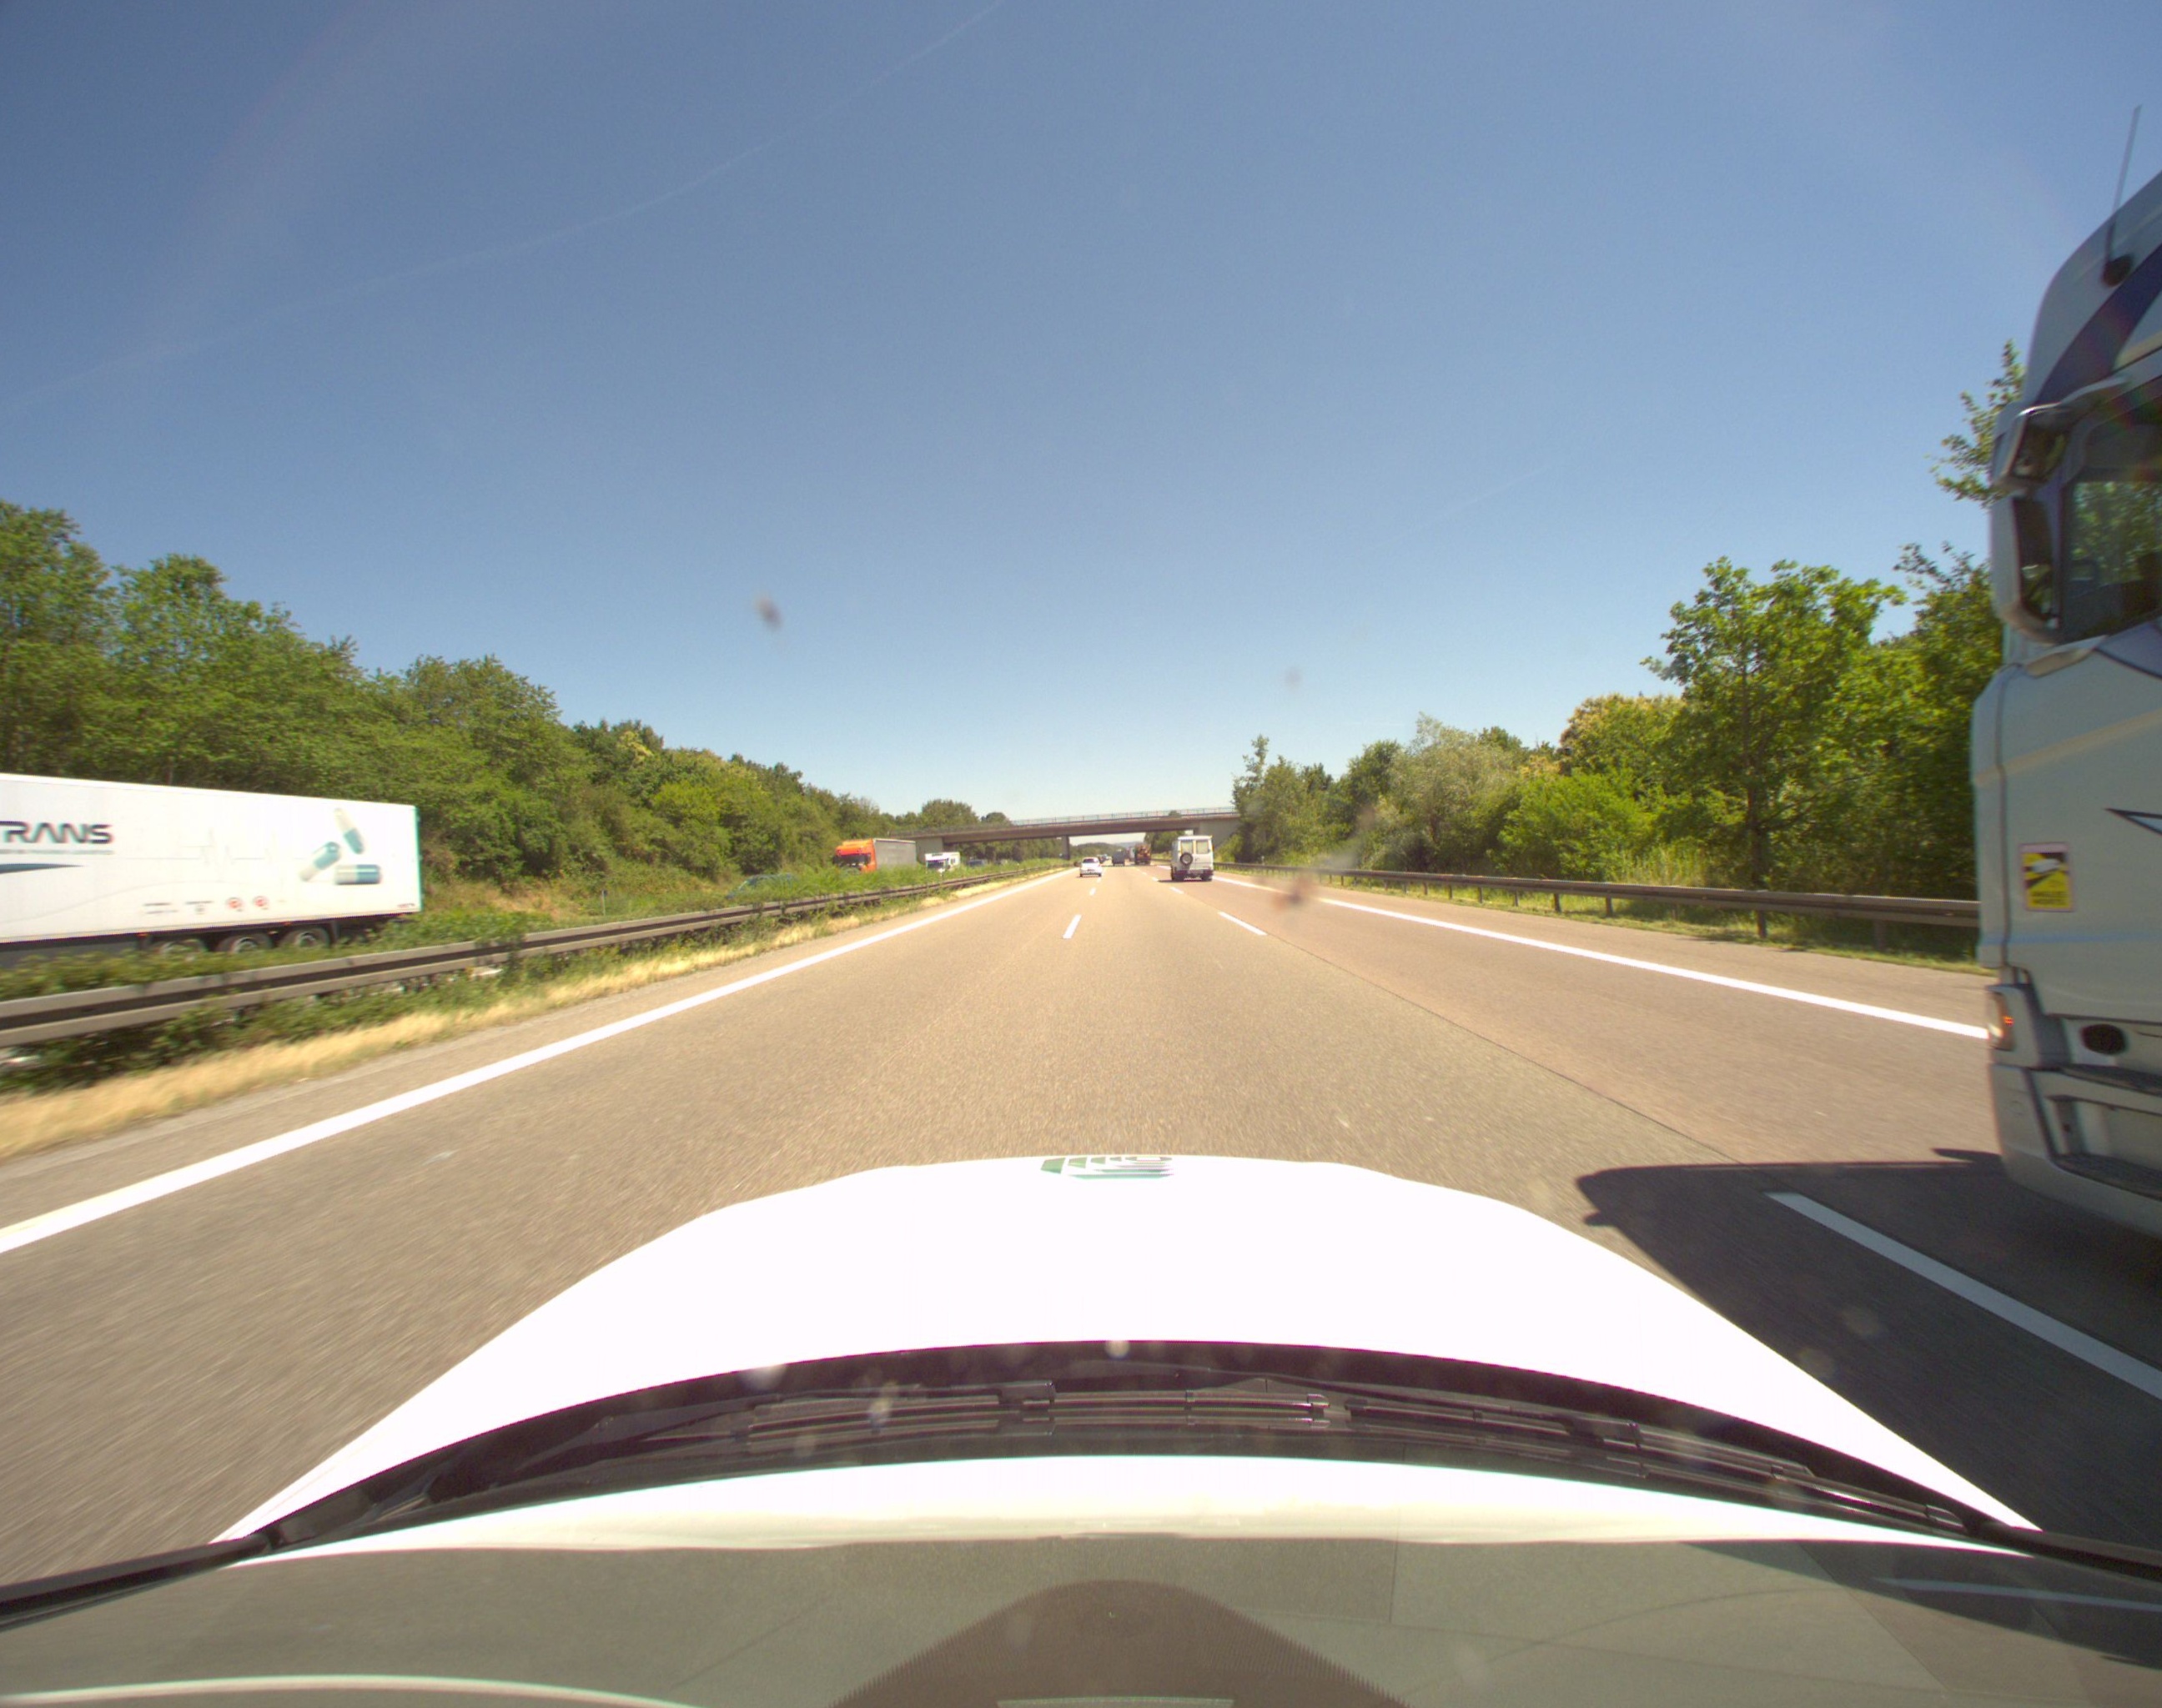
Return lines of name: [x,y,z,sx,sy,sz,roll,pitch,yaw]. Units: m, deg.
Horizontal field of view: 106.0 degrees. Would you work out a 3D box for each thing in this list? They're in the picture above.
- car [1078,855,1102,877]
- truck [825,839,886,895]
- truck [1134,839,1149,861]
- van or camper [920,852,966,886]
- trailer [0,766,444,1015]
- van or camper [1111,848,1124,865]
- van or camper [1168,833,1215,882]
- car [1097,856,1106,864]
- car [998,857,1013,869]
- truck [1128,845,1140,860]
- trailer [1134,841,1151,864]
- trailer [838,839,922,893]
car: [0.736,0.913,64.219,1.850,1.652,4.001,0,0,1]
truck: [-17.668,0.980,64.103,3.125,4.231,5.179,0,-1,2]
truck: [11.420,-0.696,153.847,2.659,3.994,6.641,-1,0,3]
van or camper: [-12.879,1.362,76.790,2.602,2.967,7.865,0,0,3]
trailer: [-19.673,0.651,16.338,3.163,4.191,12.993,0,0,2]
van or camper: [6.230,0.429,138.211,2.050,2.622,5.989,-2,-1,3]
van or camper: [6.591,0.215,49.199,2.106,2.703,6.370,-1,0,2]
car: [4.459,1.233,176.269,1.850,1.652,4.001,-1,0,1]
car: [-12.858,1.538,139.048,1.985,2.013,4.004,-2,0,4]
truck: [14.610,-0.339,225.658,3.066,4.209,16.858,0,0,4]
trailer: [11.075,-0.260,146.893,2.642,3.958,13.646,-1,0,3]
trailer: [-17.275,1.008,71.524,3.131,4.248,14.489,0,0,3]
